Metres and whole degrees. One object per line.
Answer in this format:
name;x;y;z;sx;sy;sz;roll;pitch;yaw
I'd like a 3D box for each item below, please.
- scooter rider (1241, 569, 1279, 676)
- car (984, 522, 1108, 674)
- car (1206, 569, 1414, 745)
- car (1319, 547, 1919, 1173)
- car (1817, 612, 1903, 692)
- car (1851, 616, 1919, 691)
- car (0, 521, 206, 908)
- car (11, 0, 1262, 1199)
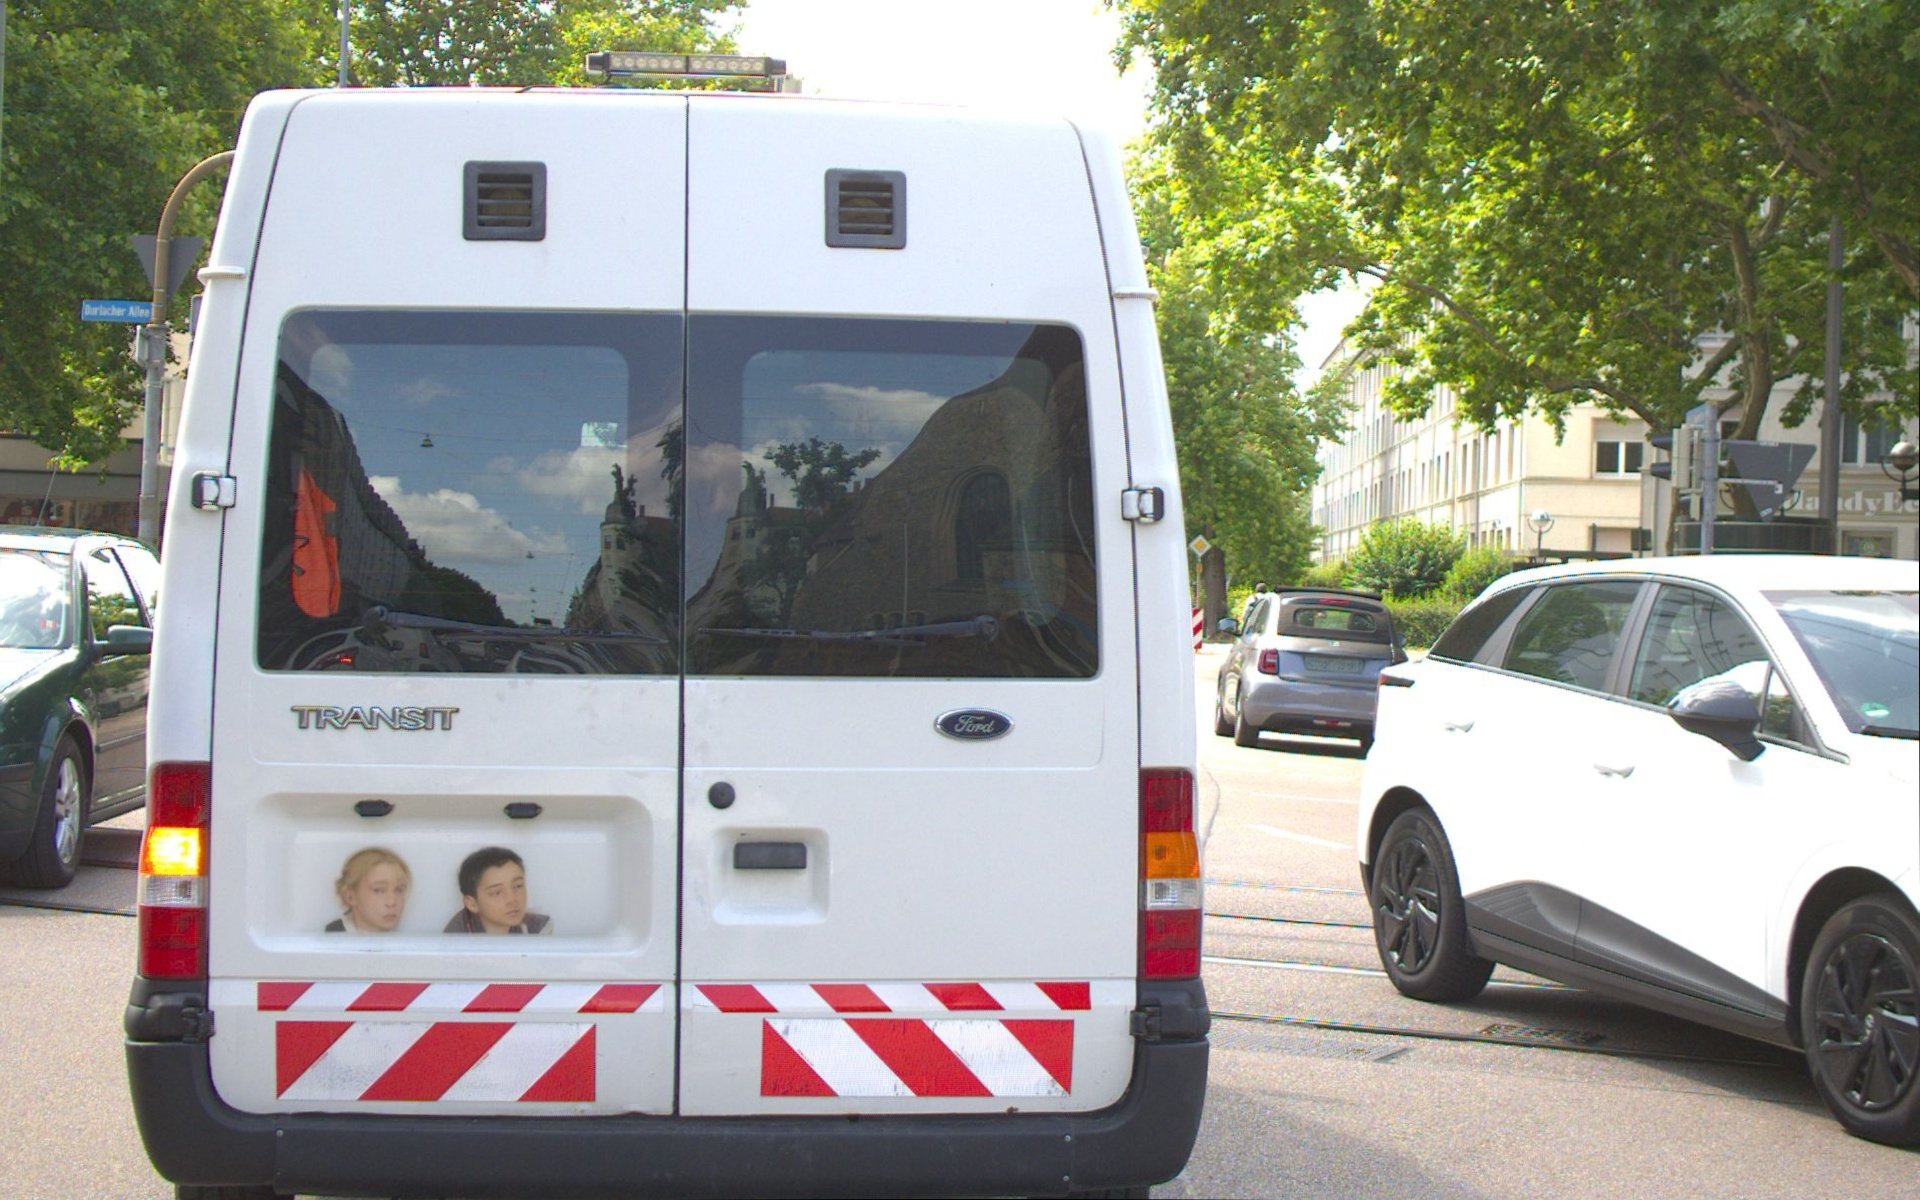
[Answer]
scooter rider;5.152;0.376;59.010;0.526;1.806;0.649;2;0;-1
car;1.624;-0.073;64.156;2.119;2.632;6.328;2;1;2
car;3.330;0.507;33.253;1.692;1.532;3.468;2;1;2
car;2.748;0.637;10.121;1.814;1.501;4.132;2;1;-18
car;16.788;0.953;64.070;1.466;1.384;3.065;2;0;15
car;18.335;1.047;67.475;1.466;1.384;3.233;2;0;17
car;-4.351;0.379;14.540;1.713;1.428;3.819;0;1;-4
car;-0.759;0.140;8.164;2.047;2.325;4.715;2;1;-5
